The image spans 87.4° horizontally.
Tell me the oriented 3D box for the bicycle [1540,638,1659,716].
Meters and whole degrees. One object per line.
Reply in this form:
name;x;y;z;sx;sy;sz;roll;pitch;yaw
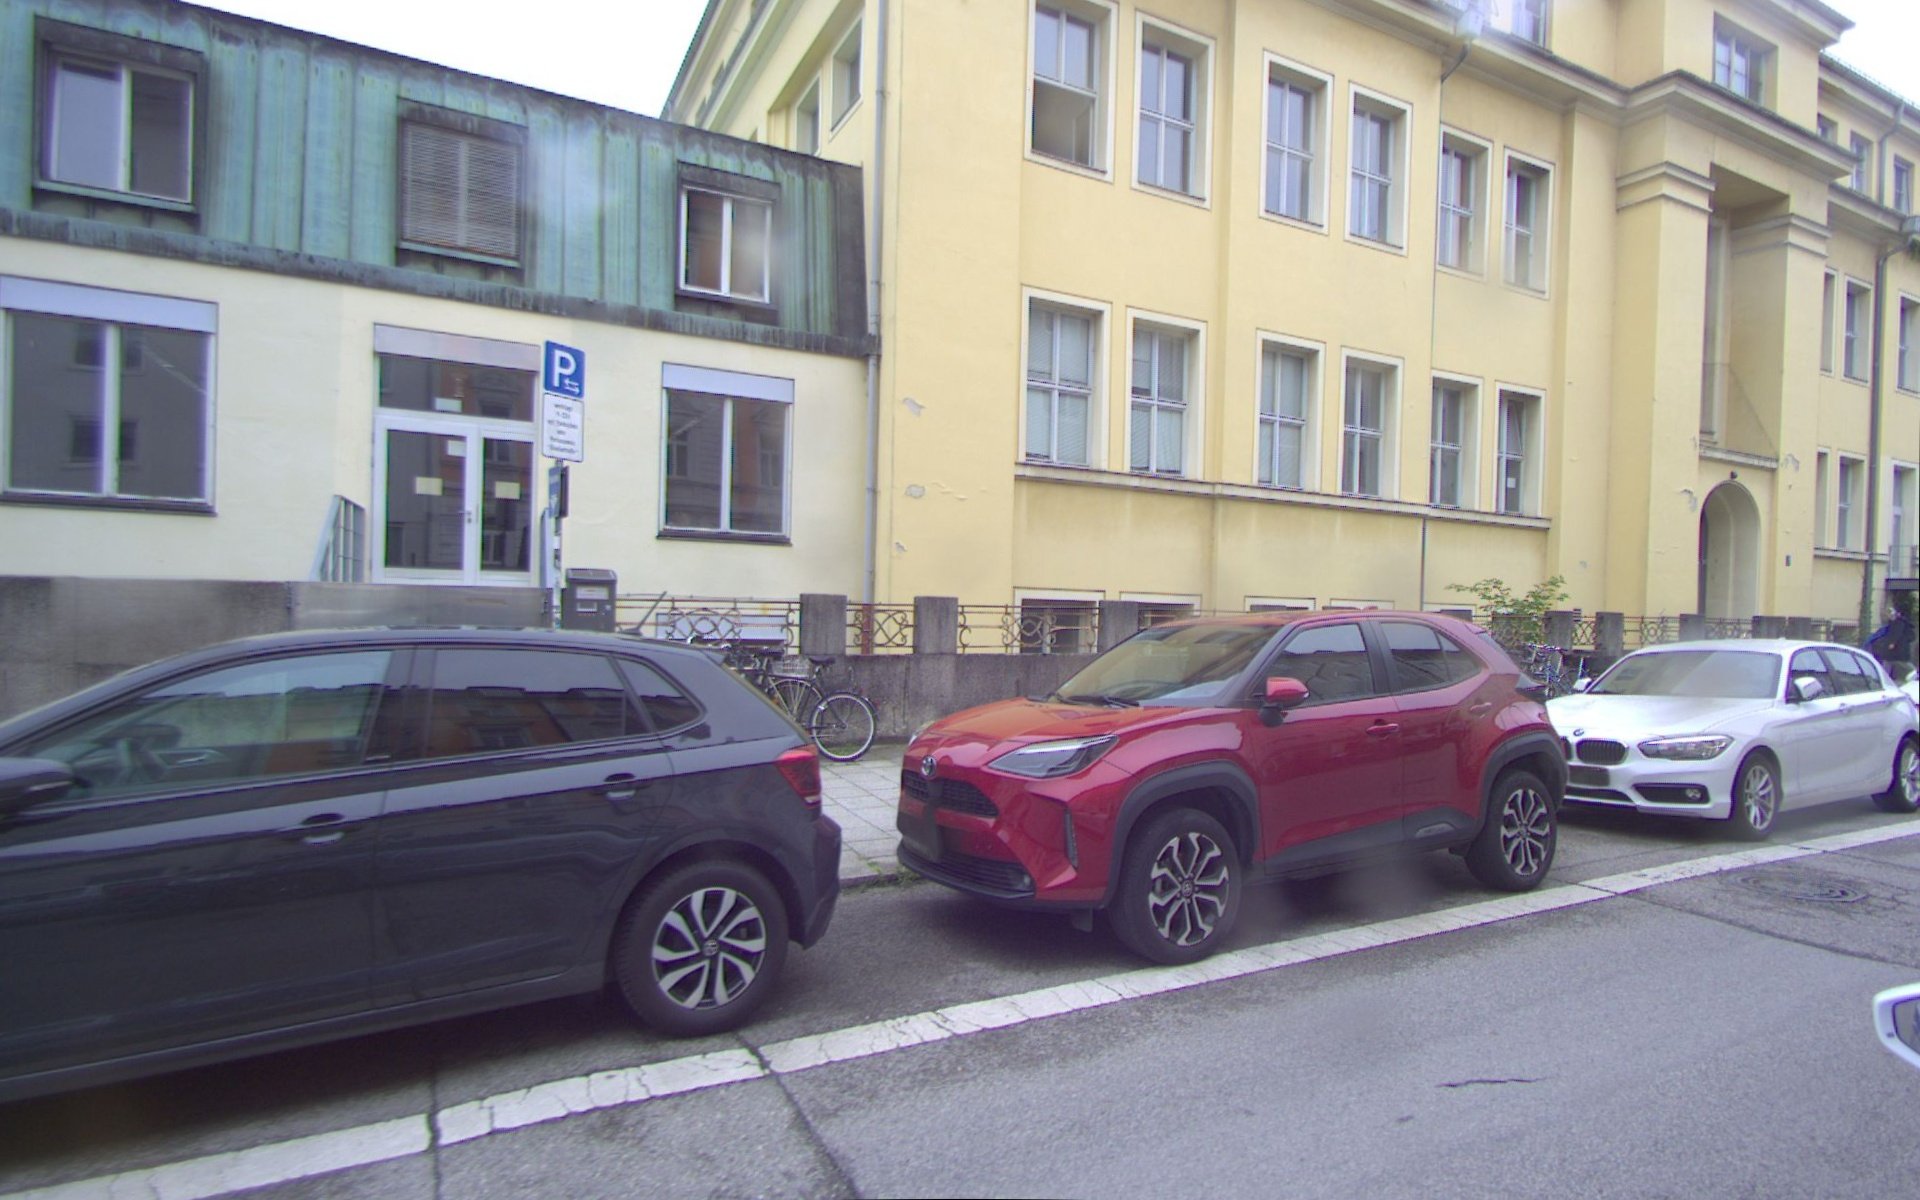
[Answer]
bicycle;9.335;1.120;14.664;1.614;1.077;0.537;2;1;-18

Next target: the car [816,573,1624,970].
car;1.624;0.745;5.805;4.477;1.501;1.949;2;-2;-30

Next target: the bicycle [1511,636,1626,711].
bicycle;9.209;1.111;15.198;1.614;1.077;0.537;2;1;-18

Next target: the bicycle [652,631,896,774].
bicycle;-1.651;0.885;9.064;2.080;1.163;0.533;2;1;-28

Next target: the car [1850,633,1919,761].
car;13.049;1.151;12.228;4.594;1.450;1.778;2;-5;-28

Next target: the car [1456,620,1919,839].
car;6.503;0.965;8.597;4.609;1.448;1.786;2;-3;-30

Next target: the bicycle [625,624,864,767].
bicycle;-1.964;0.845;9.301;2.080;1.201;0.533;2;1;-28

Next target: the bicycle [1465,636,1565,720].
bicycle;7.771;1.063;14.044;1.624;1.077;0.570;2;1;-36

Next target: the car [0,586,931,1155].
car;-2.394;0.719;3.558;4.306;1.423;1.741;2;-3;-32

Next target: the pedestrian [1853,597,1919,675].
pedestrian;21.123;0.807;22.744;1.040;1.742;0.902;1;0;-12

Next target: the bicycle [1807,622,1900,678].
bicycle;21.868;1.205;24.618;0.520;1.285;1.620;1;0;-26
